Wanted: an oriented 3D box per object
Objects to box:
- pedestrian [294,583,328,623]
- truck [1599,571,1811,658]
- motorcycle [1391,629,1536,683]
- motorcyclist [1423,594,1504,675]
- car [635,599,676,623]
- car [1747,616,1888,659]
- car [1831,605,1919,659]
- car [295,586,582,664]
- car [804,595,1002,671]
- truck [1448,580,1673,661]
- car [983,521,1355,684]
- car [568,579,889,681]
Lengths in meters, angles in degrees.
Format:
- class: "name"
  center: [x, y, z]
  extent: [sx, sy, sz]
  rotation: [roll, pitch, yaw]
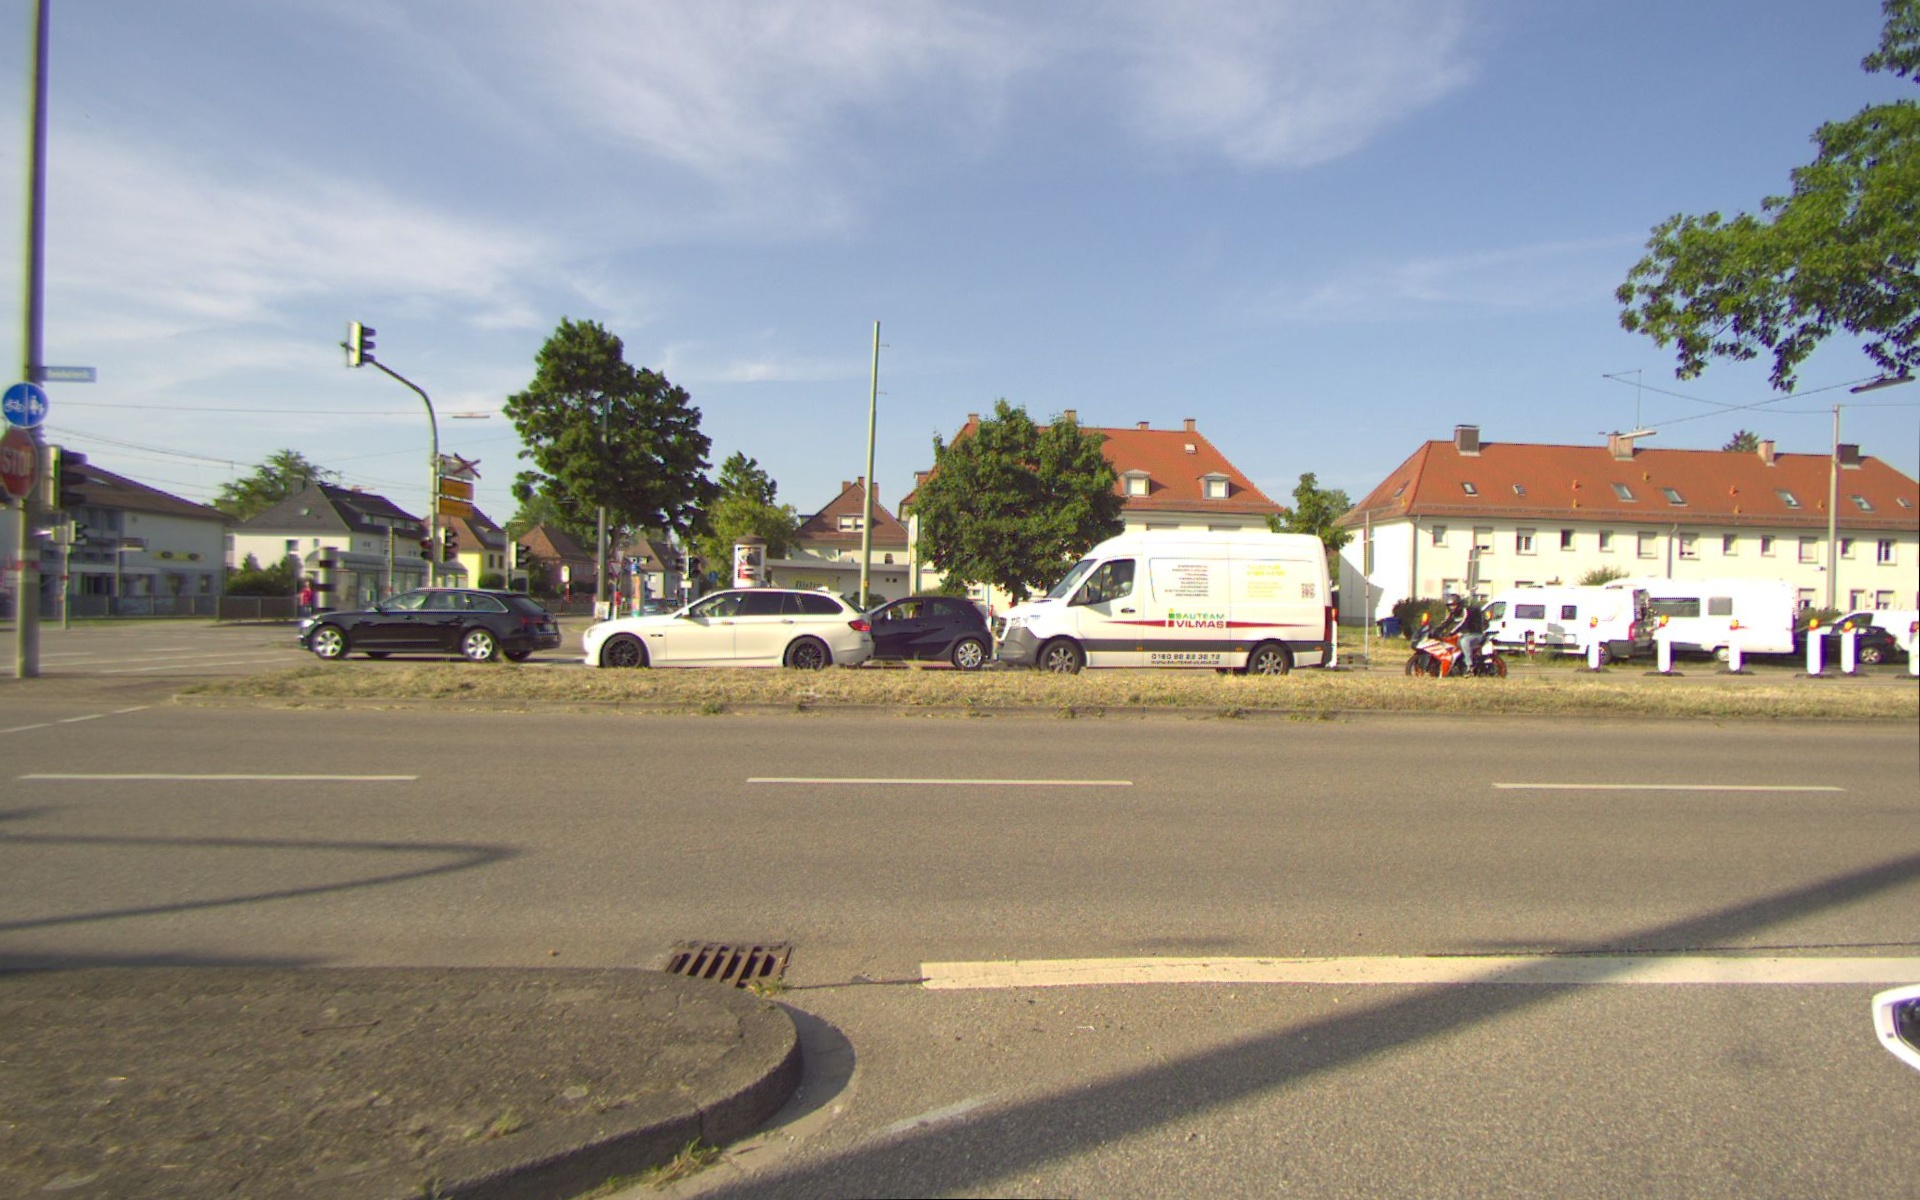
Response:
- class: "pedestrian"
  center: [-25.447, 0.131, 39.406]
  extent: [0.741, 1.518, 0.827]
  rotation: [2, -1, -3]
- class: "truck"
  center: [26.576, 0.494, 36.066]
  extent: [5.985, 2.892, 1.888]
  rotation: [0, 0, 39]
- class: "motorcycle"
  center: [8.748, 0.976, 17.480]
  extent: [2.236, 0.878, 0.690]
  rotation: [1, 0, -7]
- class: "motorcyclist"
  center: [8.749, 0.587, 17.474]
  extent: [1.049, 1.370, 0.679]
  rotation: [1, 0, -7]
- class: "car"
  center: [-19.272, 0.727, 63.752]
  extent: [1.648, 1.416, 3.997]
  rotation: [2, -1, -5]
- class: "car"
  center: [32.093, 1.360, 37.746]
  extent: [3.845, 1.475, 1.890]
  rotation: [0, -1, 36]
- class: "car"
  center: [35.467, 1.192, 37.899]
  extent: [3.849, 1.945, 1.888]
  rotation: [0, -1, 39]
- class: "car"
  center: [-10.259, 0.488, 20.056]
  extent: [4.747, 1.430, 1.714]
  rotation: [1, 0, -5]
- class: "car"
  center: [-1.181, 0.665, 20.817]
  extent: [3.924, 1.472, 1.714]
  rotation: [1, 0, -5]
- class: "truck"
  center: [20.639, 0.602, 34.818]
  extent: [2.259, 2.558, 6.283]
  rotation: [1, 0, -40]
- class: "car"
  center: [3.566, 0.072, 17.788]
  extent: [6.111, 2.618, 1.998]
  rotation: [1, 0, -6]
- class: "car"
  center: [-3.728, 0.495, 16.947]
  extent: [5.014, 1.584, 1.838]
  rotation: [1, 0, -5]
